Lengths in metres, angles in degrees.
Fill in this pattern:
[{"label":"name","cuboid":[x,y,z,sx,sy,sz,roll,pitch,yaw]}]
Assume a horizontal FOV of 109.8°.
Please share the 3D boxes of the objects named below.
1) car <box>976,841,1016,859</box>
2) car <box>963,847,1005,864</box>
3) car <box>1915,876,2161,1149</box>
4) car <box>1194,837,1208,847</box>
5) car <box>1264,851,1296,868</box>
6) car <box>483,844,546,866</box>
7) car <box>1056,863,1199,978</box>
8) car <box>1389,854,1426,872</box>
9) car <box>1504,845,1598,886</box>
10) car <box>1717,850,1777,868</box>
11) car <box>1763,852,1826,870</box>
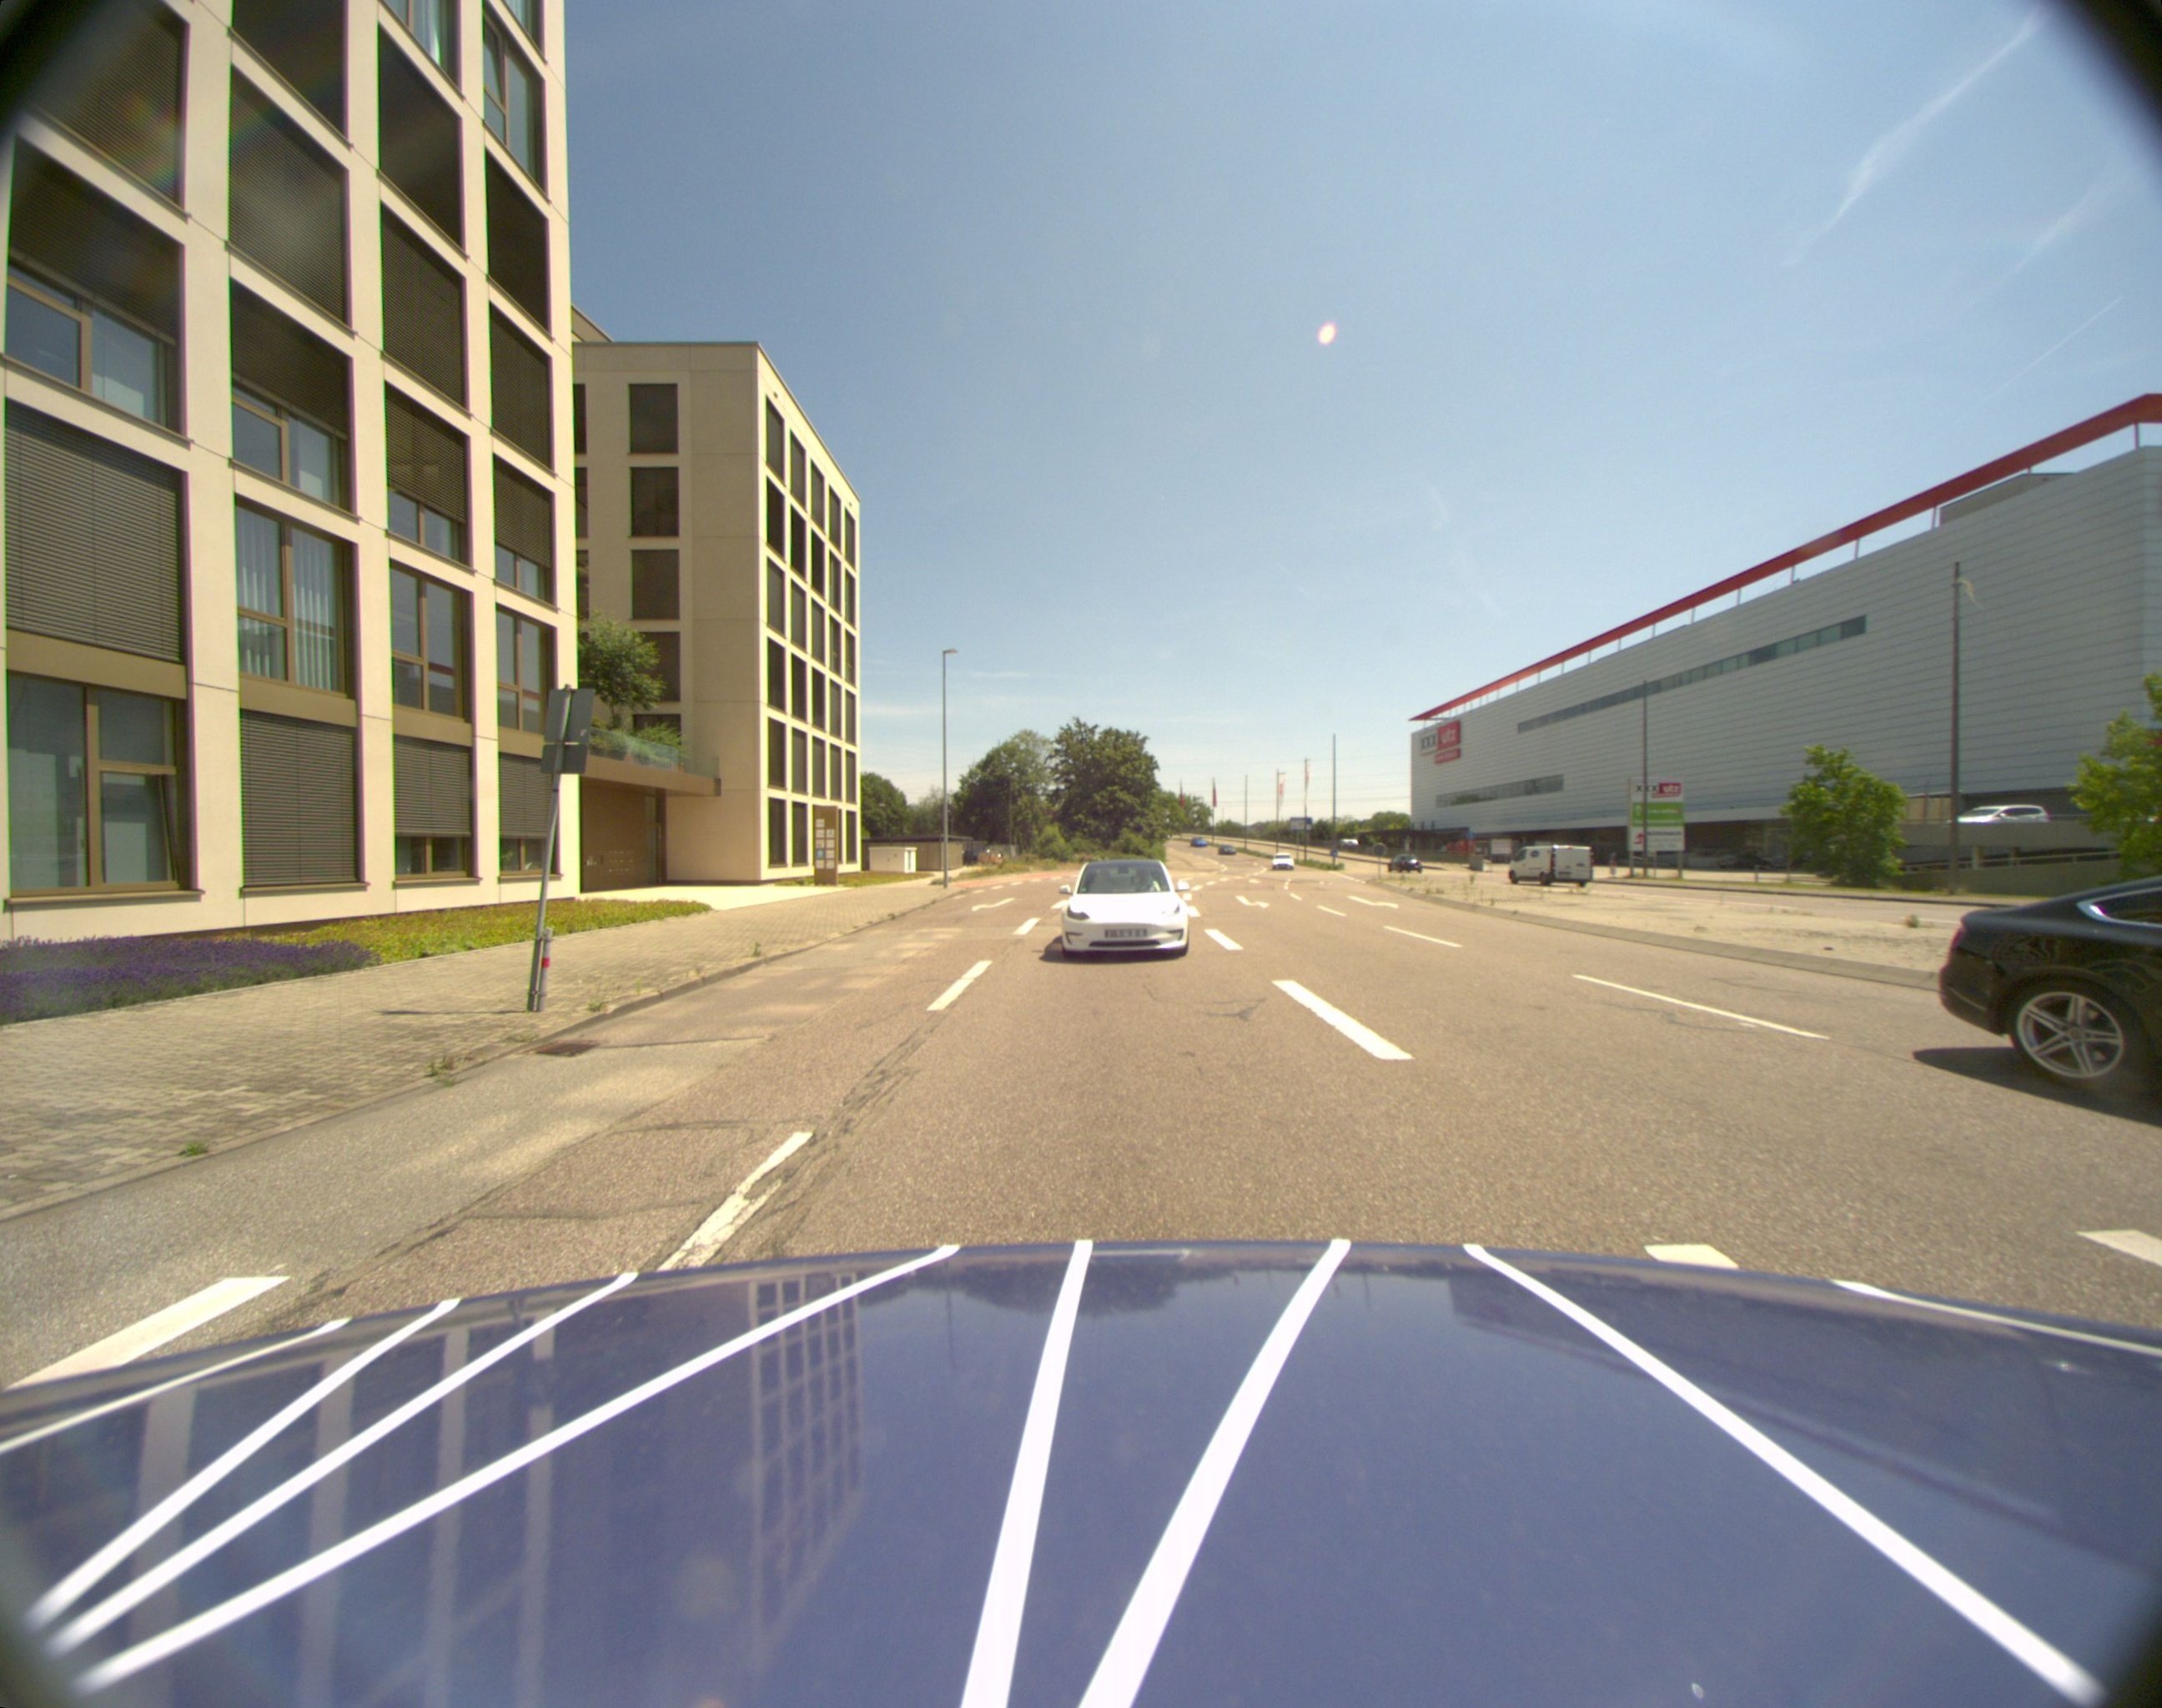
[{"label":"car","cuboid":[-9.333,-0.441,83.346,4.005,1.942,1.996,0,1,-25]},{"label":"car","cuboid":[-10.081,0.152,79.195,4.005,1.652,1.834,0,1,-23]},{"label":"car","cuboid":[6.512,0.841,2.913,1.752,1.382,4.534,-1,0,2]},{"label":"car","cuboid":[19.859,-1.978,126.103,1.801,1.406,4.405,-1,3,4]},{"label":"car","cuboid":[17.482,0.476,67.035,1.735,1.441,4.230,0,0,0]},{"label":"car","cuboid":[-47.784,0.050,64.185,1.997,1.841,4.003,0,1,10]},{"label":"car","cuboid":[0.551,0.912,12.342,1.880,1.417,4.405,-1,0,-2]},{"label":"car","cuboid":[25.169,0.662,58.766,1.859,1.295,3.897,1,0,11]},{"label":"car","cuboid":[22.830,0.505,37.172,1.835,1.839,4.841,0,0,4]},{"label":"car","cuboid":[60.402,0.441,68.915,3.746,1.610,1.912,0,1,0]},{"label":"car","cuboid":[60.619,0.584,64.609,3.482,1.487,1.959,0,1,2]}]
